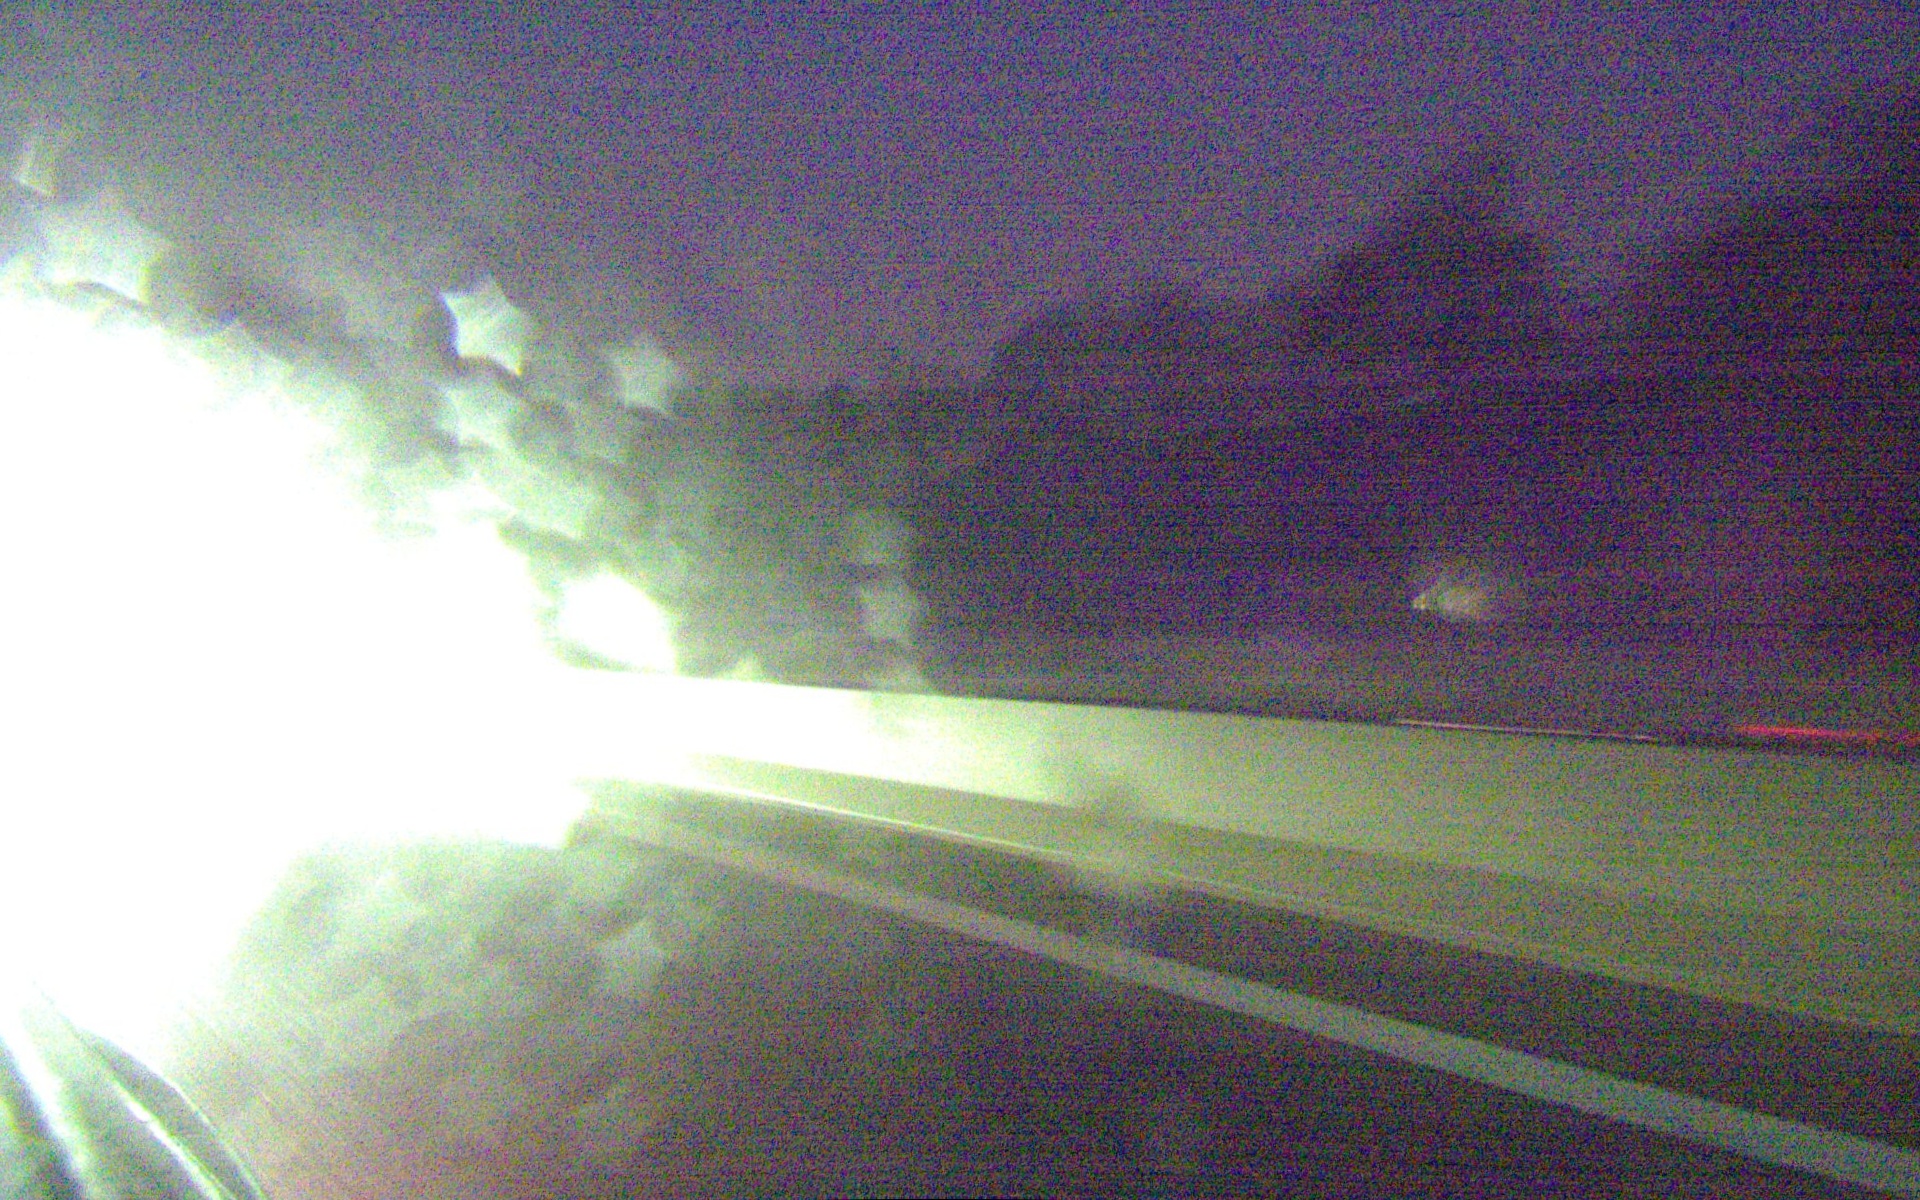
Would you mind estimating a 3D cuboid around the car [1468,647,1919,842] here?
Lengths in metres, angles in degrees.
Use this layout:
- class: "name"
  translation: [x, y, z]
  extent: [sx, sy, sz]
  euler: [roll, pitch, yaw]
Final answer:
- class: "car"
  translation: [8.025, 1.414, 11.165]
  extent: [3.998, 1.676, 1.722]
  euler: [-2, 0, 41]

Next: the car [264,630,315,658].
- class: "car"
  translation: [-42.616, 2.779, 64.316]
  extent: [3.998, 1.676, 1.722]
  euler: [-2, 0, 41]

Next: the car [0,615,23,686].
- class: "car"
  translation: [-24.517, 1.247, 25.033]
  extent: [1.857, 1.676, 4.003]
  euler: [-1, 0, -44]
